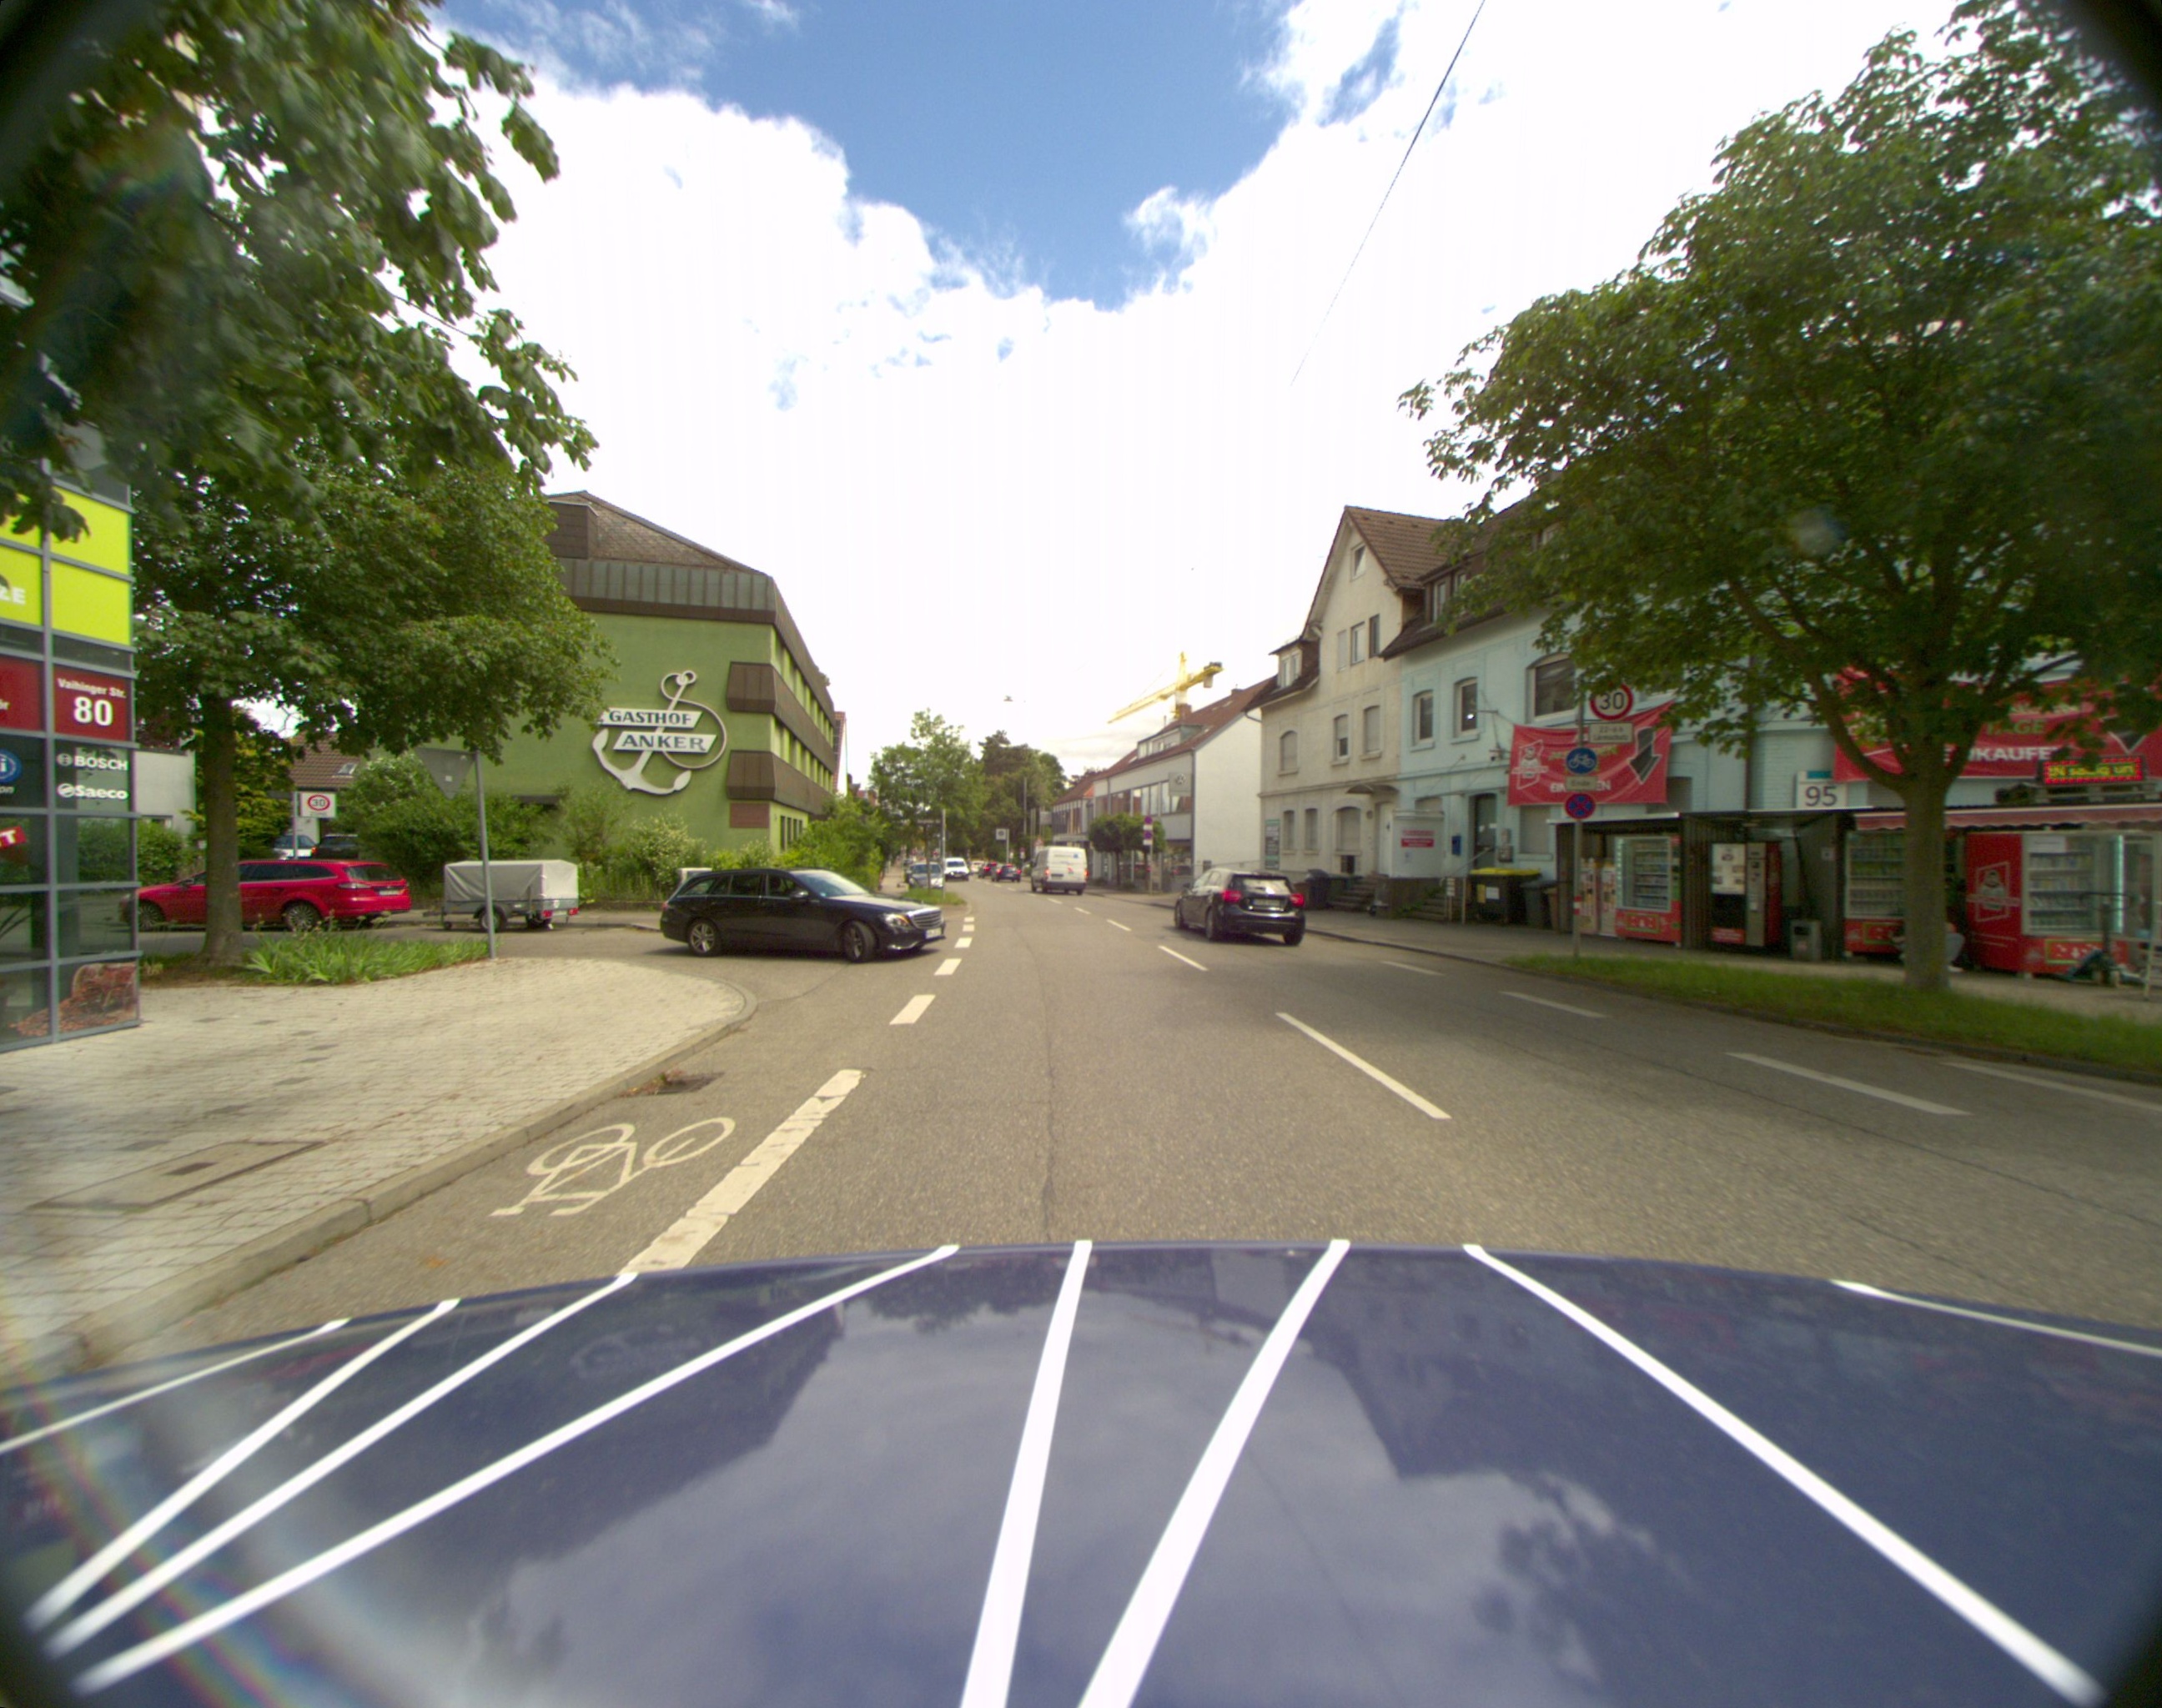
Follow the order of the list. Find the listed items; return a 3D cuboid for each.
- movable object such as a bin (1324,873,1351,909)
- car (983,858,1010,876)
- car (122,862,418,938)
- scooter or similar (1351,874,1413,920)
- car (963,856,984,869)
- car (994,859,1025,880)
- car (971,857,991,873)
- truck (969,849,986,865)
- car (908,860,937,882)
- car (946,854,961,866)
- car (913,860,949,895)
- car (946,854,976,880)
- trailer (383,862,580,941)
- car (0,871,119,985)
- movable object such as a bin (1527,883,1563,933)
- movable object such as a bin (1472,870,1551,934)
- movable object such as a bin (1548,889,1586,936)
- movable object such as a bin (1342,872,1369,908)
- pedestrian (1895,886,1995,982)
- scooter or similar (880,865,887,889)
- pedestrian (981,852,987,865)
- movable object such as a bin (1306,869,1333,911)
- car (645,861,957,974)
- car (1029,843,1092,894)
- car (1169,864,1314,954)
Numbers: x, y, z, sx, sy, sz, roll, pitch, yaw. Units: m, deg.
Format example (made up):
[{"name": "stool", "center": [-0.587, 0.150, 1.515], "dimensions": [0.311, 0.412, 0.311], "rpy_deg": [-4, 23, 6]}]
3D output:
[{"name": "movable object such as a bin", "center": [8.137, 1.172, 24.119], "dimensions": [0.567, 1.095, 0.562], "rpy_deg": [-2, 2, -17]}, {"name": "car", "center": [-7.614, 1.126, 67.911], "dimensions": [1.783, 1.514, 4.456], "rpy_deg": [0, 1, -14]}, {"name": "car", "center": [-17.140, 0.944, 16.246], "dimensions": [4.255, 1.437, 1.731], "rpy_deg": [1, 1, -4]}, {"name": "scooter or similar", "center": [8.225, 1.165, 20.772], "dimensions": [1.559, 1.177, 0.545], "rpy_deg": [-1, 2, -13]}, {"name": "car", "center": [-12.780, 1.006, 90.356], "dimensions": [1.838, 1.514, 4.163], "rpy_deg": [0, 1, -17]}, {"name": "car", "center": [-5.429, 1.163, 57.187], "dimensions": [1.777, 1.417, 4.104], "rpy_deg": [2, 0, -13]}, {"name": "car", "center": [-10.651, 1.132, 80.762], "dimensions": [1.696, 1.570, 3.794], "rpy_deg": [0, 1, -14]}, {"name": "truck", "center": [-16.789, 0.455, 123.339], "dimensions": [2.314, 2.406, 6.085], "rpy_deg": [-1, 1, -12]}, {"name": "car", "center": [-12.024, 1.259, 57.428], "dimensions": [1.992, 1.440, 4.745], "rpy_deg": [0, 1, -13]}, {"name": "car", "center": [-18.998, 0.887, 113.104], "dimensions": [1.872, 1.608, 4.530], "rpy_deg": [1, -1, -13]}, {"name": "car", "center": [-7.673, 1.161, 38.899], "dimensions": [1.696, 1.656, 4.458], "rpy_deg": [0, -1, -11]}, {"name": "car", "center": [-9.455, 0.968, 59.611], "dimensions": [1.968, 1.797, 4.423], "rpy_deg": [-2, 1, -13]}, {"name": "trailer", "center": [-13.077, 1.004, 16.678], "dimensions": [3.167, 1.572, 1.393], "rpy_deg": [2, 0, 0]}, {"name": "car", "center": [-15.989, 1.014, 10.196], "dimensions": [3.605, 1.437, 1.730], "rpy_deg": [-1, 1, -6]}, {"name": "movable object such as a bin", "center": [10.133, 1.177, 16.595], "dimensions": [0.434, 1.034, 0.517], "rpy_deg": [-1, 2, -15]}, {"name": "movable object such as a bin", "center": [9.967, 1.087, 17.628], "dimensions": [1.023, 1.347, 1.245], "rpy_deg": [-1, 1, -15]}, {"name": "movable object such as a bin", "center": [10.271, 1.232, 16.065], "dimensions": [0.448, 0.927, 0.517], "rpy_deg": [-1, 2, -15]}, {"name": "movable object such as a bin", "center": [8.758, 1.149, 24.240], "dimensions": [0.567, 1.095, 0.562], "rpy_deg": [-2, 2, -17]}, {"name": "pedestrian", "center": [12.294, 1.113, 10.825], "dimensions": [0.626, 1.265, 0.738], "rpy_deg": [-1, 2, -18]}, {"name": "scooter or similar", "center": [-10.837, 1.257, 41.740], "dimensions": [0.302, 1.297, 1.402], "rpy_deg": [3, -1, -13]}, {"name": "pedestrian", "center": [-13.033, 0.621, 102.261], "dimensions": [0.685, 1.727, 0.867], "rpy_deg": [-1, 2, -14]}, {"name": "movable object such as a bin", "center": [7.480, 1.127, 23.833], "dimensions": [0.567, 1.266, 0.562], "rpy_deg": [-2, 1, -17]}, {"name": "car", "center": [-4.633, 0.983, 12.702], "dimensions": [4.677, 1.619, 1.812], "rpy_deg": [-1, 1, 16]}, {"name": "car", "center": [-1.139, 0.720, 38.672], "dimensions": [2.071, 2.339, 5.177], "rpy_deg": [3, -1, -13]}, {"name": "car", "center": [3.162, 1.039, 15.894], "dimensions": [1.692, 1.473, 4.224], "rpy_deg": [3, 0, -5]}]
